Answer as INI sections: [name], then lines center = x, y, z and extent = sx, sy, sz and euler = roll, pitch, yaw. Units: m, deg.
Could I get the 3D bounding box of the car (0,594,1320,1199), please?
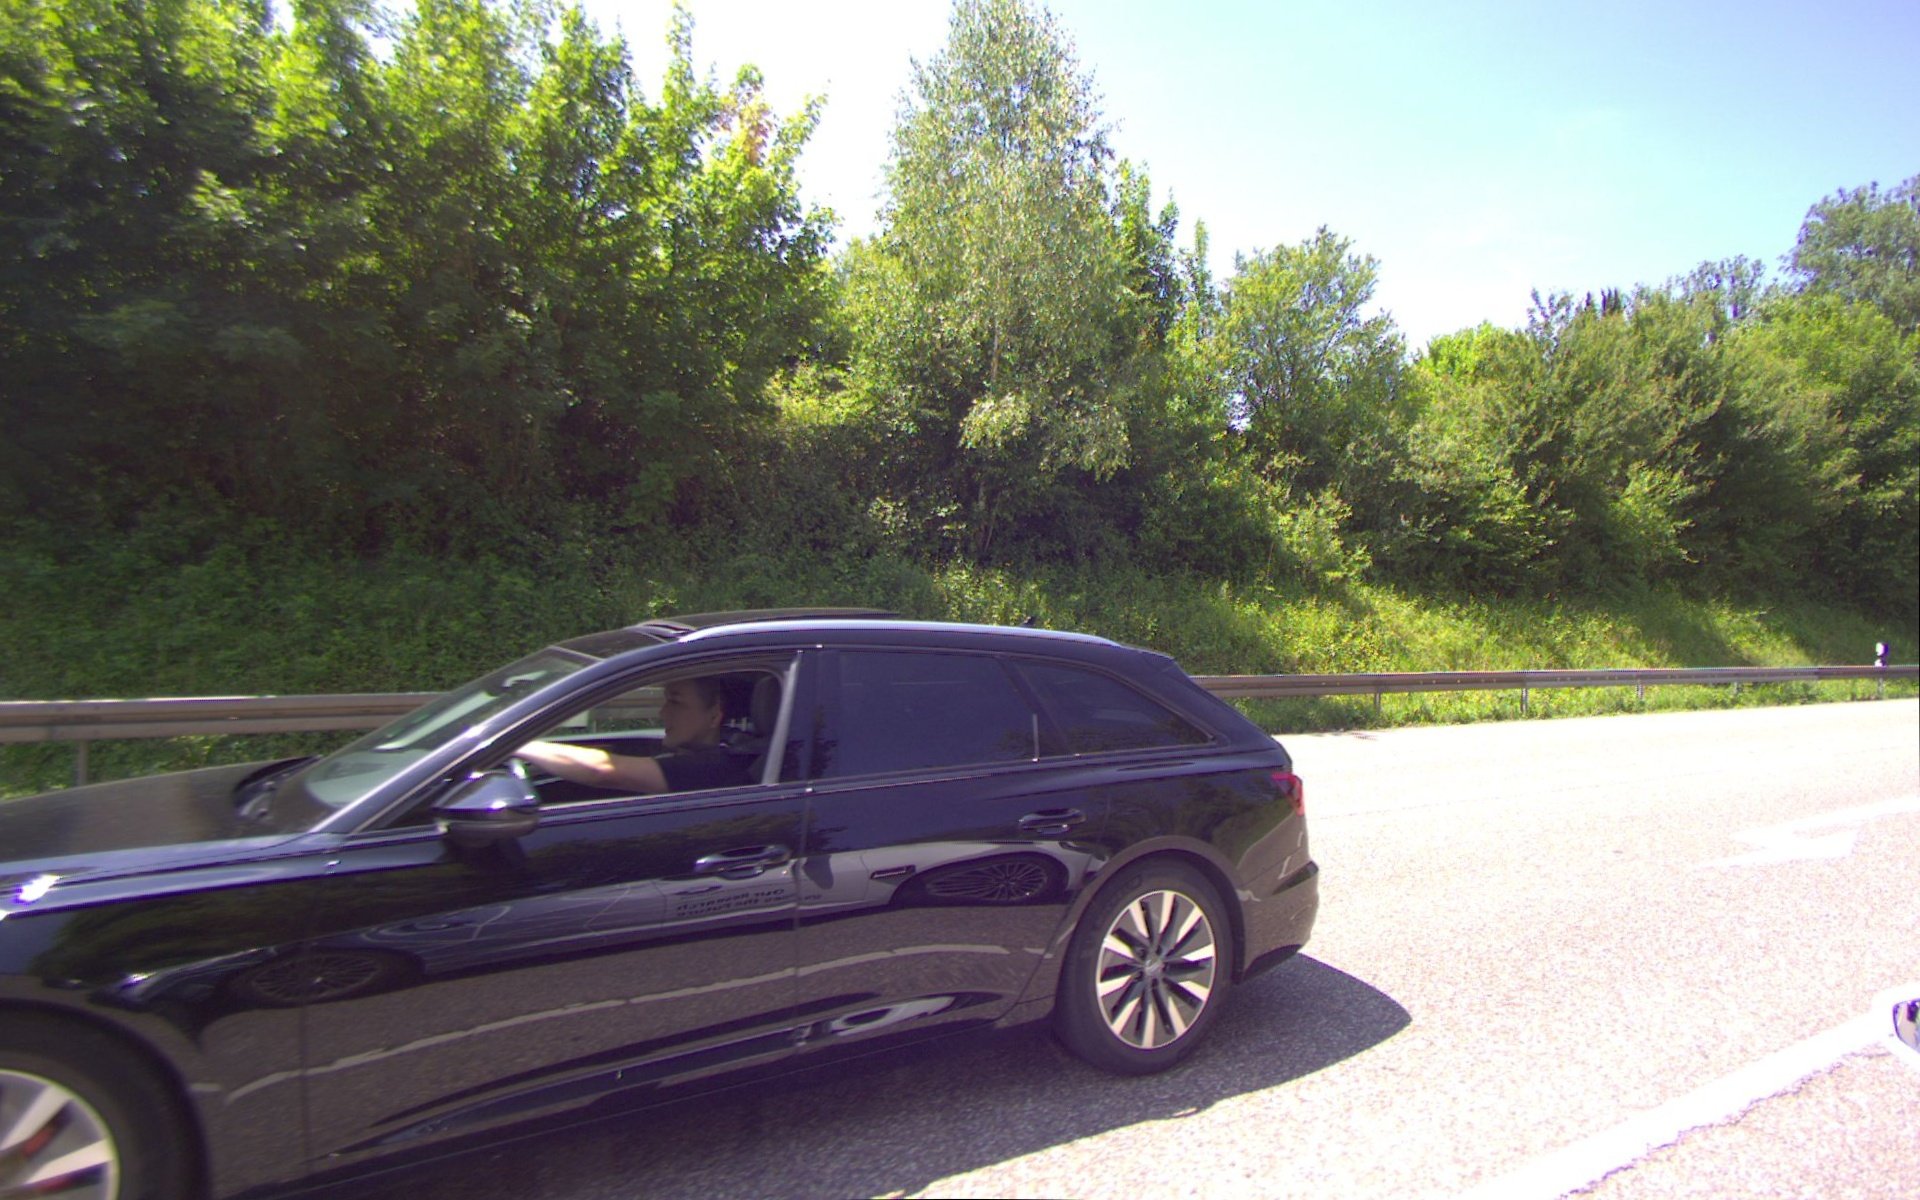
[car]
center = -1.043, 0.757, 3.290
extent = 4.333, 1.472, 1.796
euler = 1, -1, -29
